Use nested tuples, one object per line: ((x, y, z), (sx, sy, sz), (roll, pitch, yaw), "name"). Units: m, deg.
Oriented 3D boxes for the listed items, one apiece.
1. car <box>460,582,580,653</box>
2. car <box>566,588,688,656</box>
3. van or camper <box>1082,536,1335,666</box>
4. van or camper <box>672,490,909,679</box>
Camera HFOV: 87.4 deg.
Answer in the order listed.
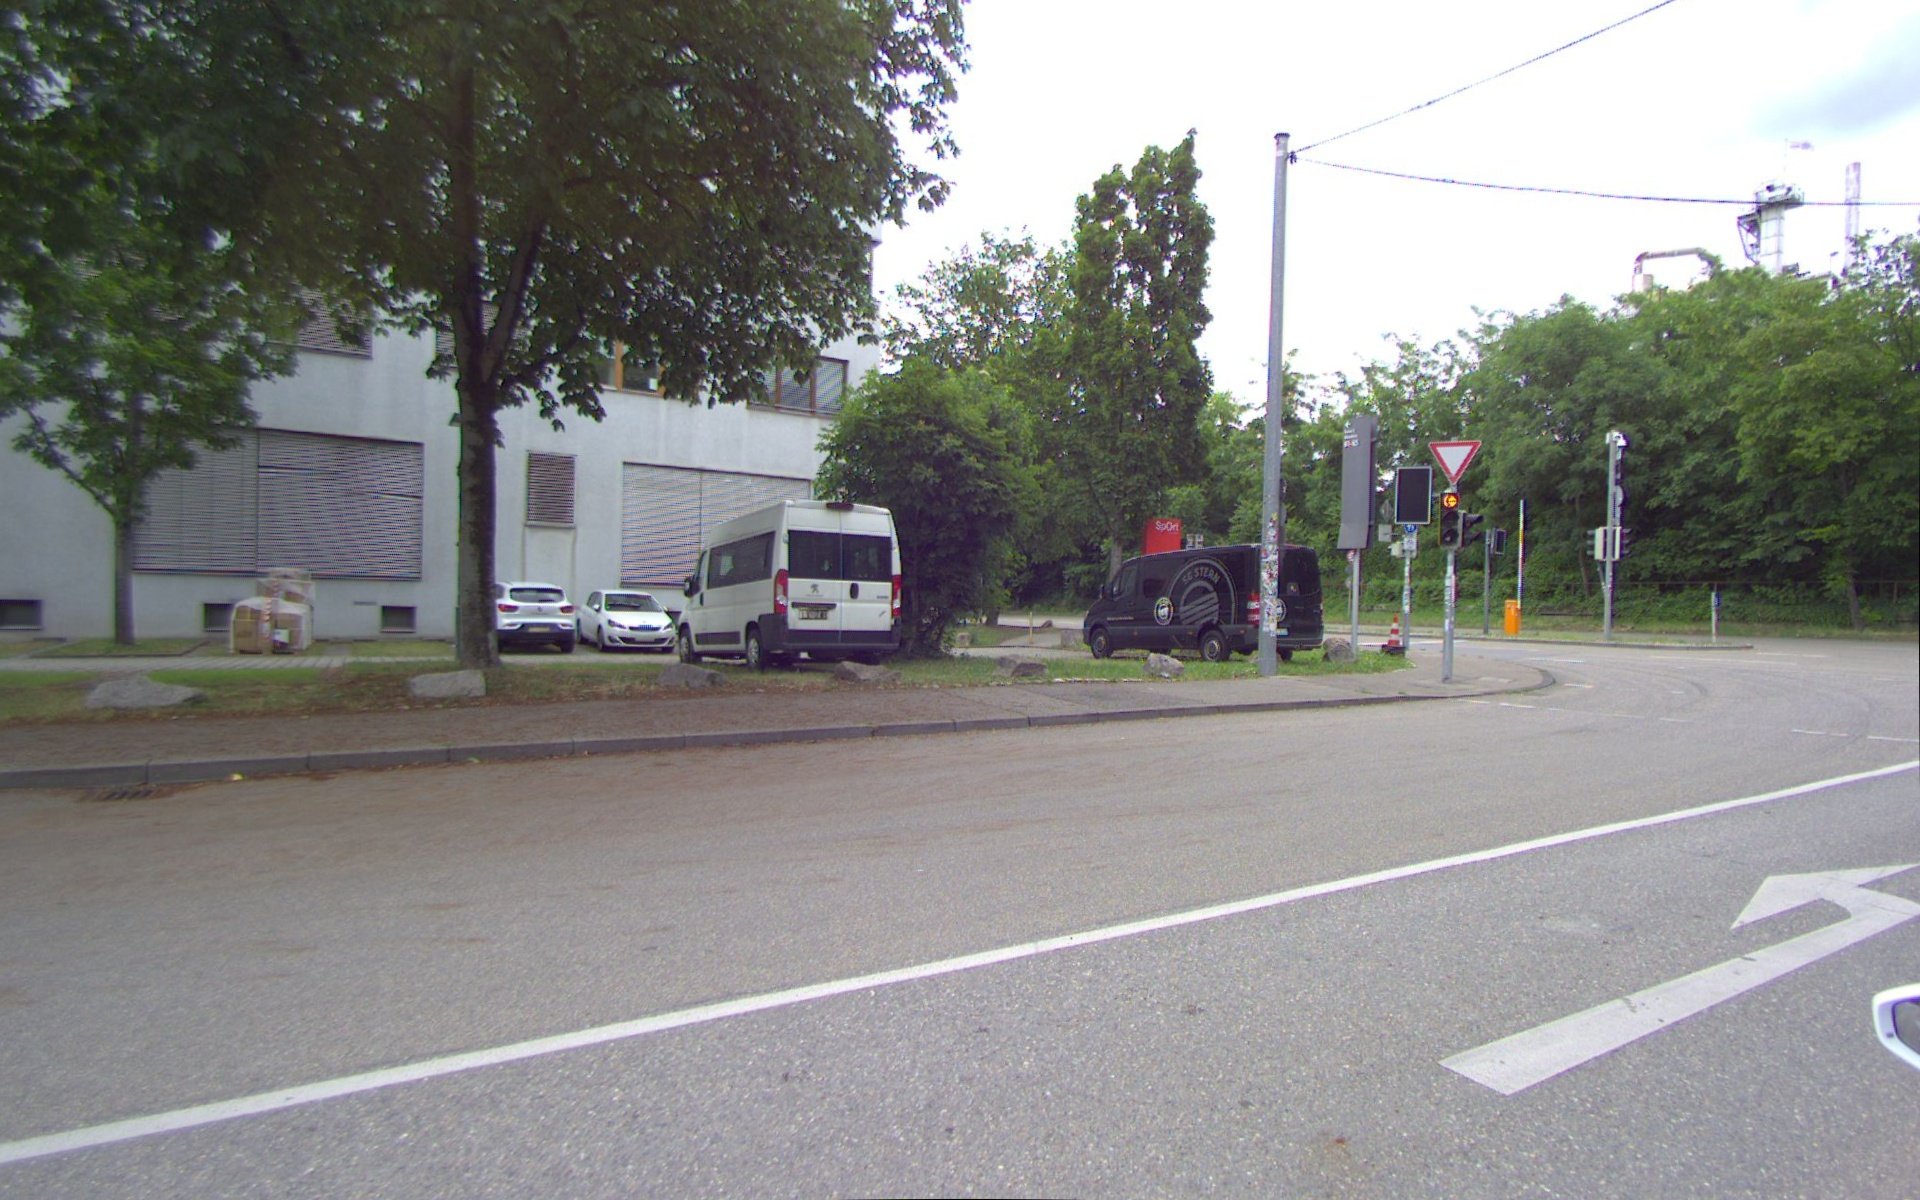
((-10.571, 0.381, 23.977), (1.881, 1.475, 3.972), (3, 0, -34), "car")
((-8.536, 0.525, 25.552), (1.881, 1.475, 3.972), (3, 0, -34), "car")
((5.014, 0.125, 21.256), (2.036, 2.343, 5.513), (3, -3, -28), "van or camper")
((-2.963, -0.238, 16.500), (2.039, 2.604, 4.943), (3, 0, -32), "van or camper")
